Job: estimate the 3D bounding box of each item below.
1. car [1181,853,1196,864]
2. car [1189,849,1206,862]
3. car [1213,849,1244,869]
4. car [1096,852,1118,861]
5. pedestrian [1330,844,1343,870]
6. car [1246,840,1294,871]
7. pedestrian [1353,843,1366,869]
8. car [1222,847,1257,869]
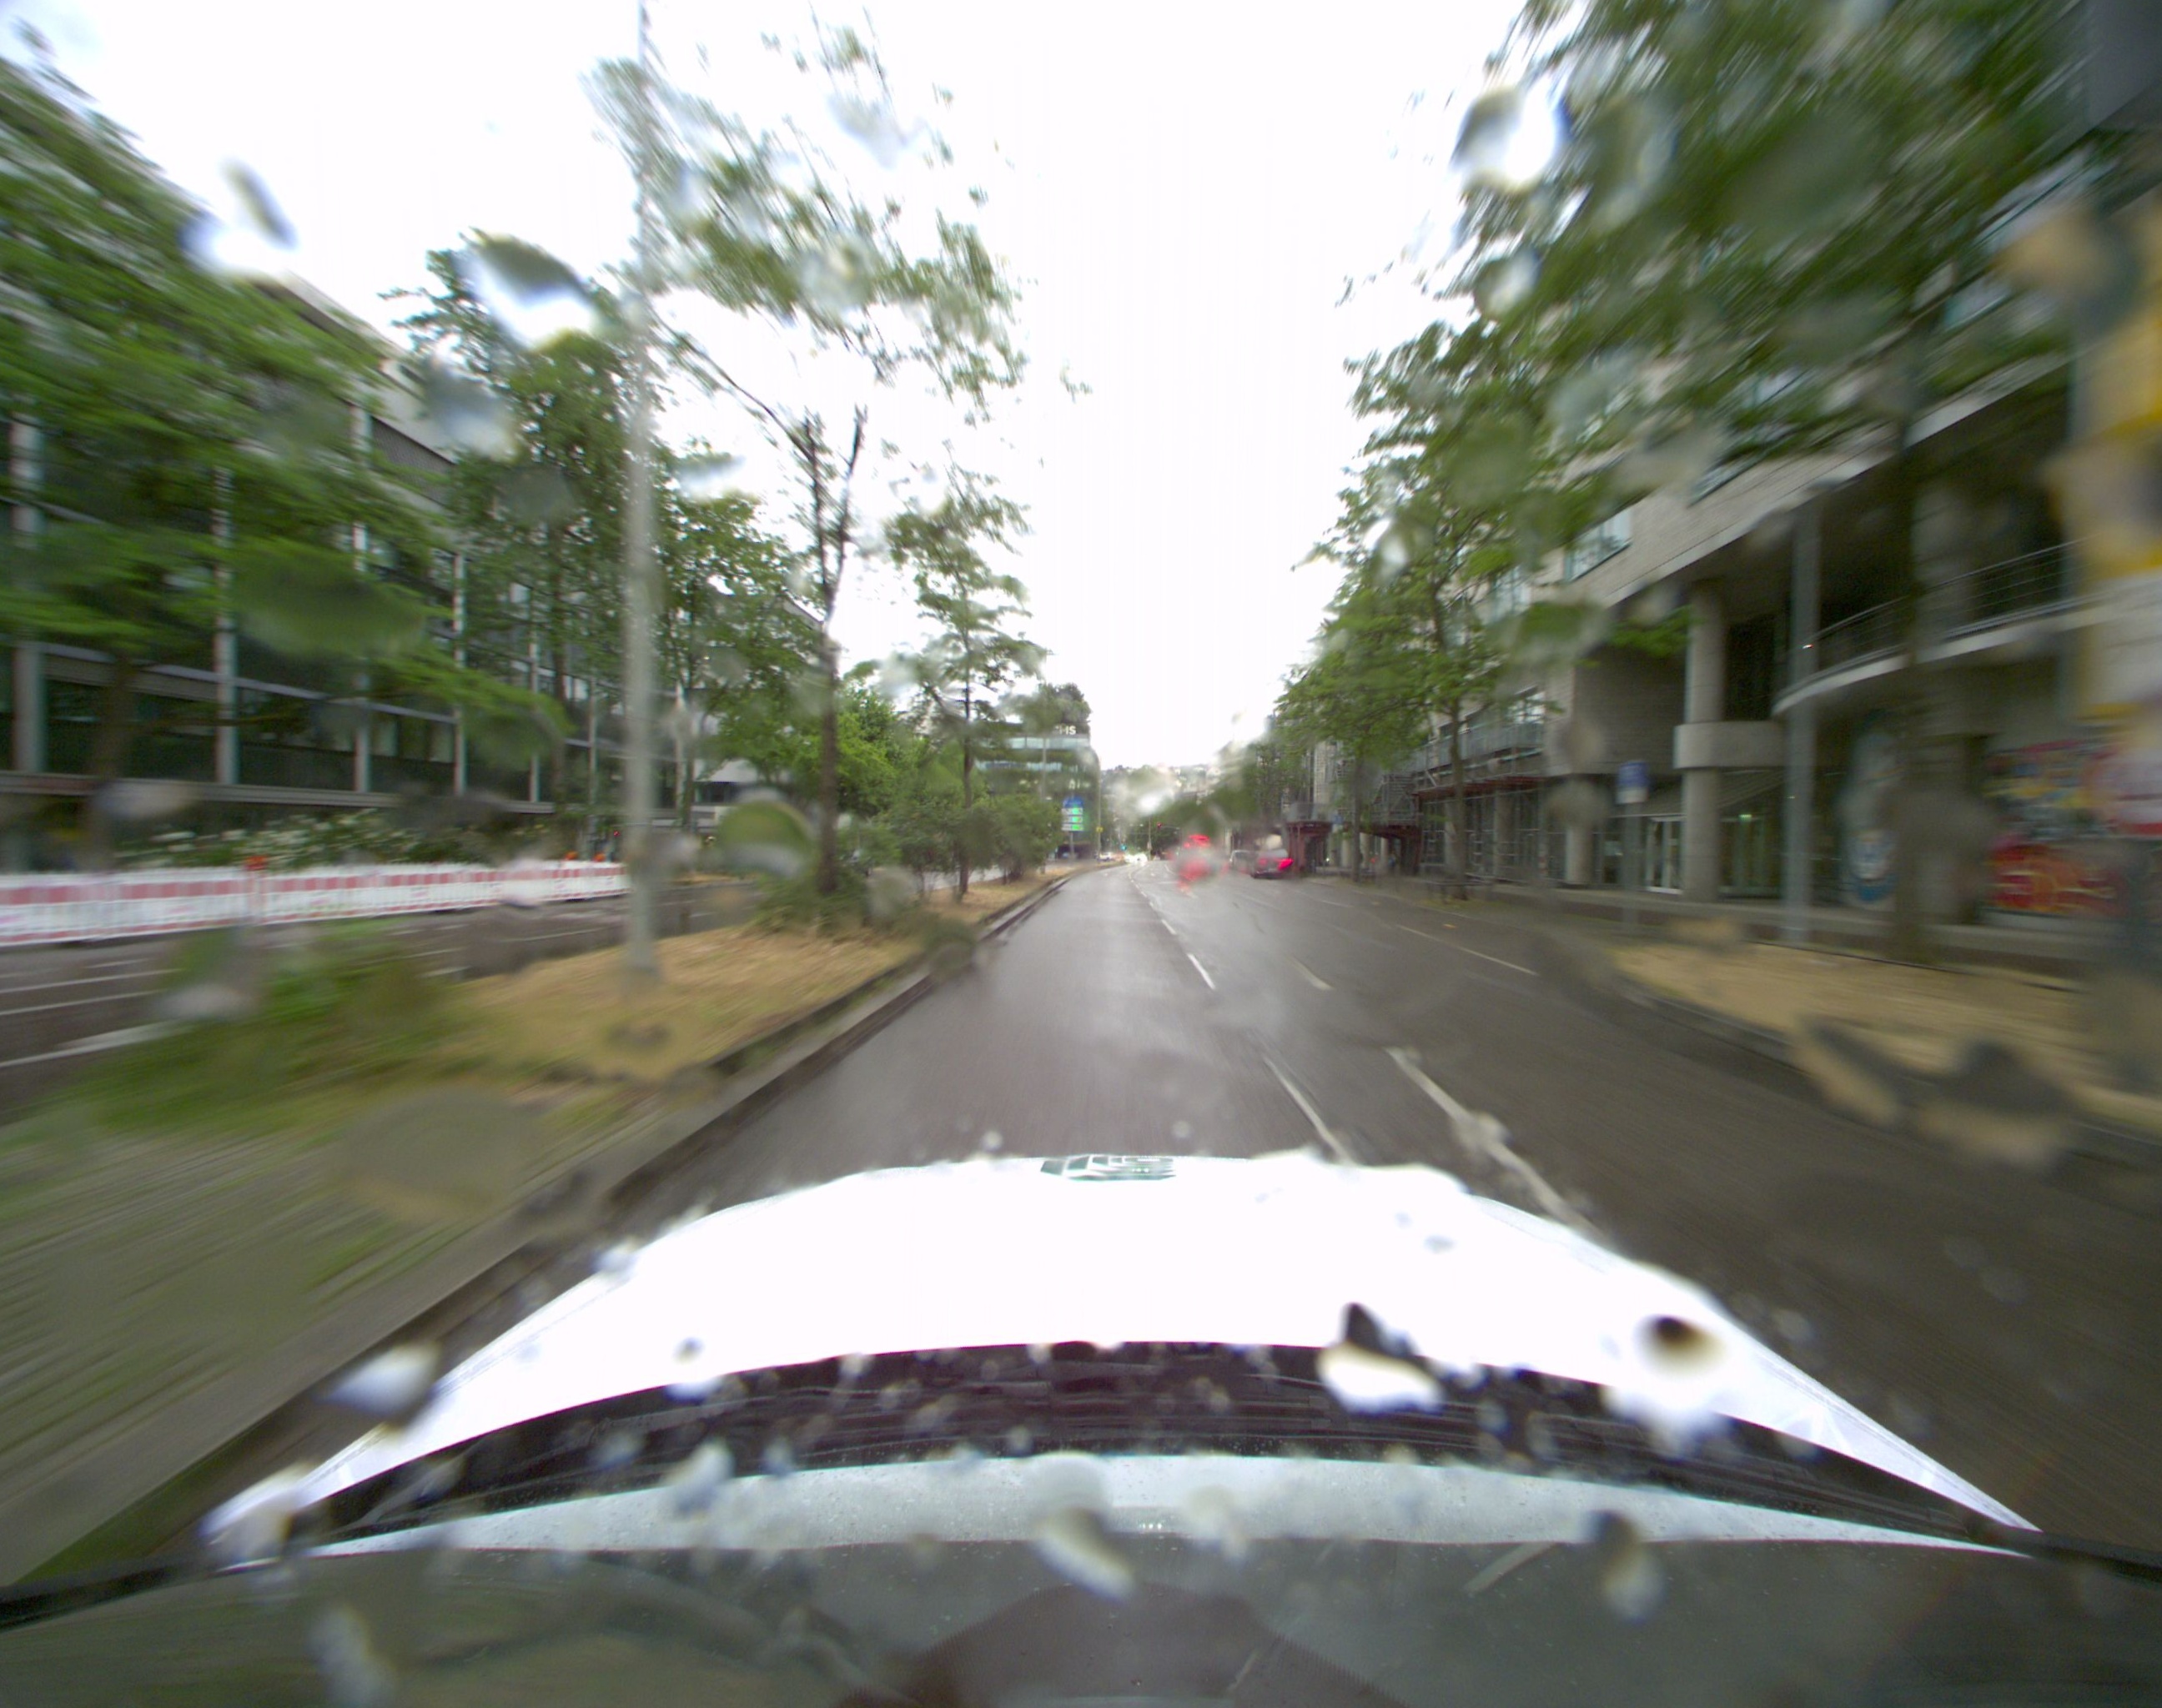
[{"bbox_3d":[17.061,0.755,129.032,1.986,1.736,4.001,0,-1,2],"label":"car"},{"bbox_3d":[16.807,0.210,117.922,1.986,1.724,4.001,0,-1,1],"label":"car"},{"bbox_3d":[11.629,0.391,64.417,1.837,1.492,4.003,0,0,3],"label":"car"},{"bbox_3d":[4.775,0.395,148.458,1.843,1.640,4.252,0,0,-37],"label":"car"},{"bbox_3d":[19.520,0.222,62.195,0.772,1.920,0.703,0,-1,1],"label":"pedestrian"},{"bbox_3d":[10.564,0.072,45.758,2.324,1.691,4.010,0,0,9],"label":"car"},{"bbox_3d":[20.565,0.129,60.178,0.770,1.920,0.705,0,-1,12],"label":"pedestrian"},{"bbox_3d":[11.145,0.286,57.549,1.837,1.492,4.003,0,0,3],"label":"car"}]
